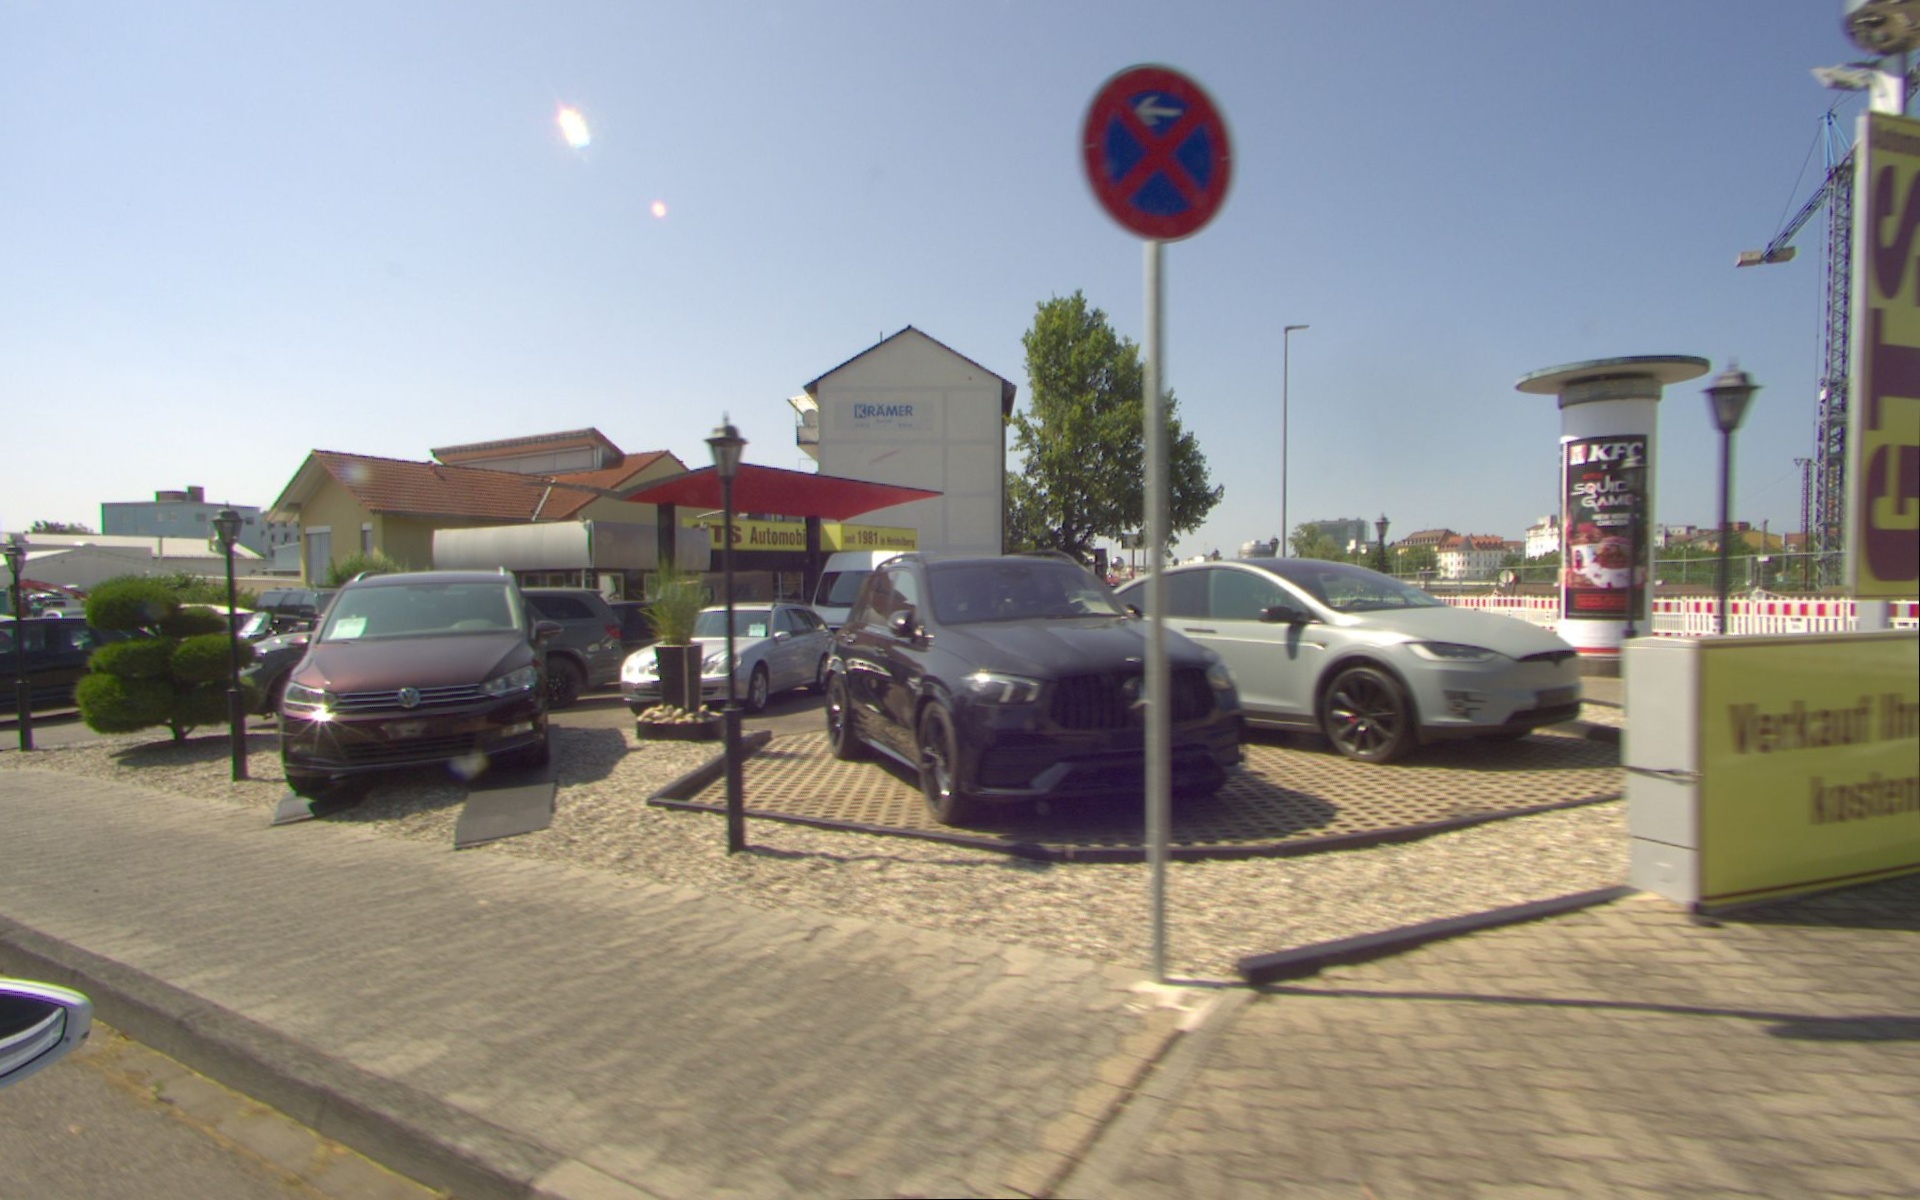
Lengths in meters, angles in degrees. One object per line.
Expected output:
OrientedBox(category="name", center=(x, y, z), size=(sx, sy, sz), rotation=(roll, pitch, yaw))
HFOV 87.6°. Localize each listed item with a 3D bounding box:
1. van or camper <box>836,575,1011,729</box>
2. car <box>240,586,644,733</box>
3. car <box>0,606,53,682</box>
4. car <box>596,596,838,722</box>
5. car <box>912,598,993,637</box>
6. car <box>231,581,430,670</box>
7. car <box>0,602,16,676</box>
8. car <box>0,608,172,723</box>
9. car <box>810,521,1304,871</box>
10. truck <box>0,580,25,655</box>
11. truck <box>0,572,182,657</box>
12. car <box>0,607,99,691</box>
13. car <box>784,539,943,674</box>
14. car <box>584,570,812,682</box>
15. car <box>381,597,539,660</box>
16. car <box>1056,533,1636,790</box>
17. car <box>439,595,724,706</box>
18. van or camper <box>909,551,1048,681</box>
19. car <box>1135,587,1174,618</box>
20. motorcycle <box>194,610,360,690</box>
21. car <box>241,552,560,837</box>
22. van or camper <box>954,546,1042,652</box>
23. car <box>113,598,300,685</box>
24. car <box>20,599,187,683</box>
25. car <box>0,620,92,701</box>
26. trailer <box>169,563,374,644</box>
OrientedBox(category="van or camper", center=(-0.605, 0.584, 13.507), size=(1.961, 1.706, 4.292), rotation=(-1, 0, -5))
OrientedBox(category="car", center=(-7.365, 0.722, 14.615), size=(4.928, 1.786, 1.913), rotation=(-1, 1, -33))
OrientedBox(category="car", center=(-21.524, 1.030, 20.170), size=(1.867, 1.549, 4.398), rotation=(-1, 2, 26))
OrientedBox(category="car", center=(-3.335, 0.748, 14.708), size=(1.889, 1.554, 4.204), rotation=(-1, 0, 10))
OrientedBox(category="car", center=(-0.252, 0.656, 40.022), size=(1.731, 1.399, 3.472), rotation=(1, 2, 30))
OrientedBox(category="car", center=(-15.749, 0.608, 25.022), size=(4.830, 2.041, 1.991), rotation=(-1, 1, 28))
OrientedBox(category="car", center=(-23.530, 0.918, 21.493), size=(1.816, 1.675, 4.396), rotation=(0, 1, 29))
OrientedBox(category="car", center=(-14.901, 1.011, 15.553), size=(1.733, 1.646, 3.796), rotation=(-1, 1, 30))
OrientedBox(category="car", center=(0.275, 0.488, 7.742), size=(1.982, 1.803, 4.806), rotation=(-1, 0, -19))
OrientedBox(category="truck", center=(-46.940, 0.708, 44.432), size=(2.490, 3.466, 7.508), rotation=(0, -2, 32))
OrientedBox(category="truck", center=(-41.145, 0.612, 45.815), size=(2.913, 3.659, 8.252), rotation=(0, 1, 34))
OrientedBox(category="car", center=(-19.305, 1.012, 18.746), size=(1.867, 1.517, 4.398), rotation=(-1, 2, 26))
OrientedBox(category="car", center=(-2.016, 0.153, 23.291), size=(2.216, 2.714, 6.016), rotation=(-1, 0, 9))
OrientedBox(category="car", center=(-5.757, 0.474, 22.367), size=(4.525, 2.180, 1.908), rotation=(-3, 3, -41))
OrientedBox(category="car", center=(-14.071, 0.774, 28.194), size=(3.937, 1.617, 1.992), rotation=(-1, 1, 27))
OrientedBox(category="car", center=(3.130, 0.417, 9.251), size=(1.989, 1.715, 4.790), rotation=(-1, 0, -31))
OrientedBox(category="car", center=(-6.874, 0.839, 18.411), size=(4.520, 1.657, 1.911), rotation=(-3, 0, -37))
OrientedBox(category="van or camper", center=(0.561, 0.300, 20.541), size=(2.072, 2.291, 5.504), rotation=(-1, 0, 9))
OrientedBox(category="car", center=(11.059, 0.113, 57.181), size=(1.962, 1.662, 3.998), rotation=(-1, 0, 8))
OrientedBox(category="motorcycle", center=(-13.850, 0.971, 20.445), size=(0.993, 1.452, 2.683), rotation=(-1, 1, 21))
OrientedBox(category="car", center=(-4.583, 0.603, 8.716), size=(1.823, 1.806, 4.275), rotation=(-2, 1, -24))
OrientedBox(category="van or camper", center=(1.100, -0.033, 26.151), size=(1.961, 2.469, 4.933), rotation=(-1, 1, 6))
OrientedBox(category="car", center=(-16.847, 0.865, 22.371), size=(3.941, 1.751, 1.990), rotation=(-1, 1, 31))
OrientedBox(category="car", center=(-20.611, 0.962, 24.091), size=(3.734, 1.884, 1.990), rotation=(-1, -1, 31))
OrientedBox(category="car", center=(-17.419, 1.090, 17.131), size=(1.535, 1.353, 3.542), rotation=(-1, 1, 30))
OrientedBox(category="trailer", center=(-36.076, 0.136, 52.824), size=(3.028, 3.915, 8.302), rotation=(0, 1, 37))
